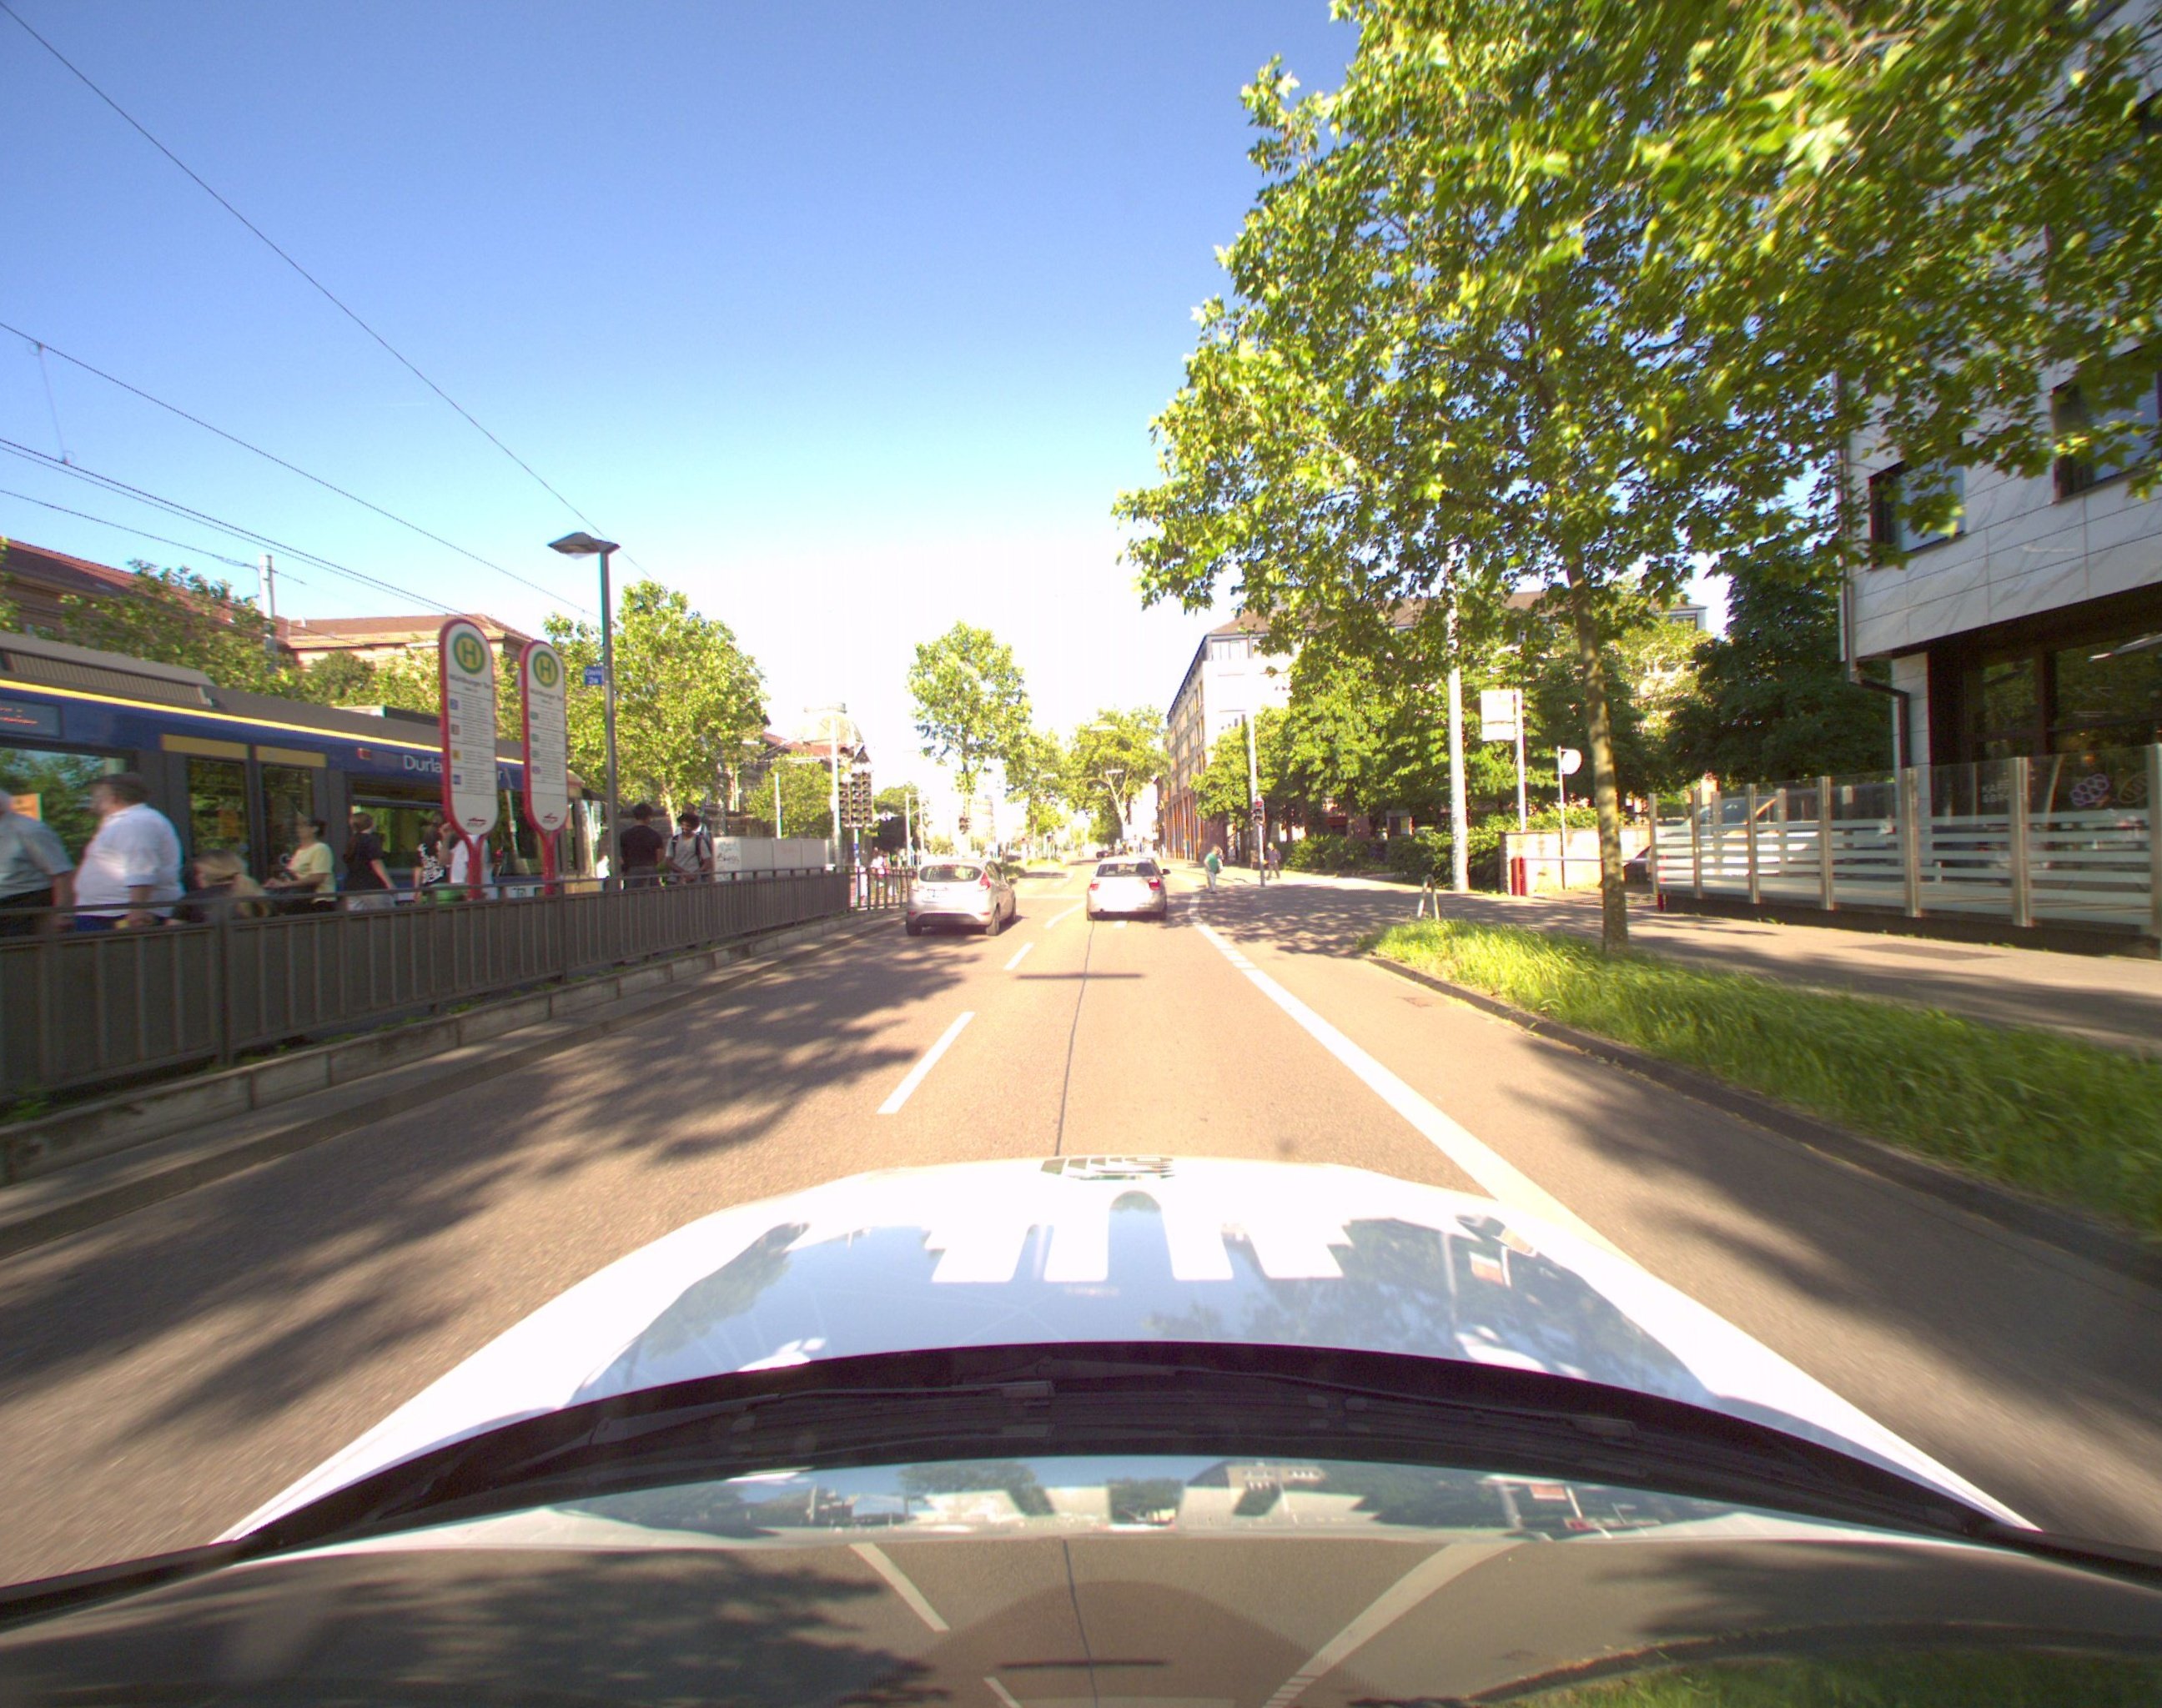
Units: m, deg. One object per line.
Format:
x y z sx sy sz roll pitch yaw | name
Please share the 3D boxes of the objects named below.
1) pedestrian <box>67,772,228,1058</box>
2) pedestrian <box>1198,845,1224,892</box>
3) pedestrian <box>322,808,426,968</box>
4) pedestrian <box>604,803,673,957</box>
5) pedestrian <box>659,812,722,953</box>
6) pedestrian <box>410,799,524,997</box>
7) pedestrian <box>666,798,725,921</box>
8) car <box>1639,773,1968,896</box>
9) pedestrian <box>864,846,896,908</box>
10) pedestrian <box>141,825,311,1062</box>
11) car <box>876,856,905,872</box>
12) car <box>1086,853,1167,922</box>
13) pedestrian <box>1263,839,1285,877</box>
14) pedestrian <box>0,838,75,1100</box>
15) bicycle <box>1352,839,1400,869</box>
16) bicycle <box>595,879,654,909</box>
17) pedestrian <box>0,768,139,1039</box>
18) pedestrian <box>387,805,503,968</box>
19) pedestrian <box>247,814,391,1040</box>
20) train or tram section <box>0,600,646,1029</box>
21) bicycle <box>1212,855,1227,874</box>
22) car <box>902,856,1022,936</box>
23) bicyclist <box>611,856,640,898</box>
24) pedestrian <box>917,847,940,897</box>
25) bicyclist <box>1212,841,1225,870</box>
-5.974 0.361 5.236 0.500 1.702 0.615 -2 0 42 | pedestrian
4.422 0.479 27.782 0.824 1.575 0.741 -1 -1 9 | pedestrian
-7.812 0.361 9.026 0.607 1.702 0.545 -2 0 -3 | pedestrian
-5.186 0.292 9.576 0.549 1.734 0.537 -2 0 -17 | pedestrian
-4.968 0.347 10.362 0.552 1.734 0.533 -2 0 -39 | pedestrian
-5.537 0.380 7.370 0.504 1.702 0.611 -2 0 -3 | pedestrian
-5.628 0.075 11.922 0.546 1.734 0.539 -2 0 -3 | pedestrian
14.561 -0.370 16.640 4.879 1.984 1.914 -5 0 1 | car
-5.141 0.582 20.895 0.629 1.557 0.646 -2 0 -3 | pedestrian
-5.040 0.502 4.825 0.414 1.316 0.507 -2 0 0 | pedestrian
-21.456 1.093 91.731 1.984 1.625 4.006 -2 0 5 | car
1.172 0.709 19.251 1.721 1.390 3.846 -1 1 6 | car
8.393 0.160 35.417 0.620 1.629 0.950 -1 0 36 | pedestrian
-5.206 0.534 3.708 0.543 1.192 0.531 -2 0 1 | pedestrian
13.893 -0.007 38.339 1.987 1.314 0.574 -3 0 4 | bicycle
-15.066 1.314 26.880 1.556 0.963 0.651 0 -1 1 | bicycle
-6.819 0.312 5.282 0.617 1.649 0.622 -2 0 -3 | pedestrian
-6.971 0.340 8.963 0.631 1.702 0.746 -2 0 -3 | pedestrian
-6.304 0.579 6.770 0.552 1.770 0.611 -2 0 -3 | pedestrian
-9.602 -0.273 8.356 2.903 3.260 13.117 0 -1 2 | train or tram section
8.272 0.639 48.615 0.826 1.041 1.880 -3 0 10 | bicycle
-2.248 0.750 16.280 1.653 1.409 3.635 -1 0 3 | car
-15.034 0.757 26.876 0.563 1.386 0.650 0 -1 1 | bicyclist
-5.070 0.614 27.110 0.638 1.619 0.640 -2 -3 -2 | pedestrian
8.204 0.070 48.528 0.654 1.657 0.767 -3 0 10 | bicyclist
